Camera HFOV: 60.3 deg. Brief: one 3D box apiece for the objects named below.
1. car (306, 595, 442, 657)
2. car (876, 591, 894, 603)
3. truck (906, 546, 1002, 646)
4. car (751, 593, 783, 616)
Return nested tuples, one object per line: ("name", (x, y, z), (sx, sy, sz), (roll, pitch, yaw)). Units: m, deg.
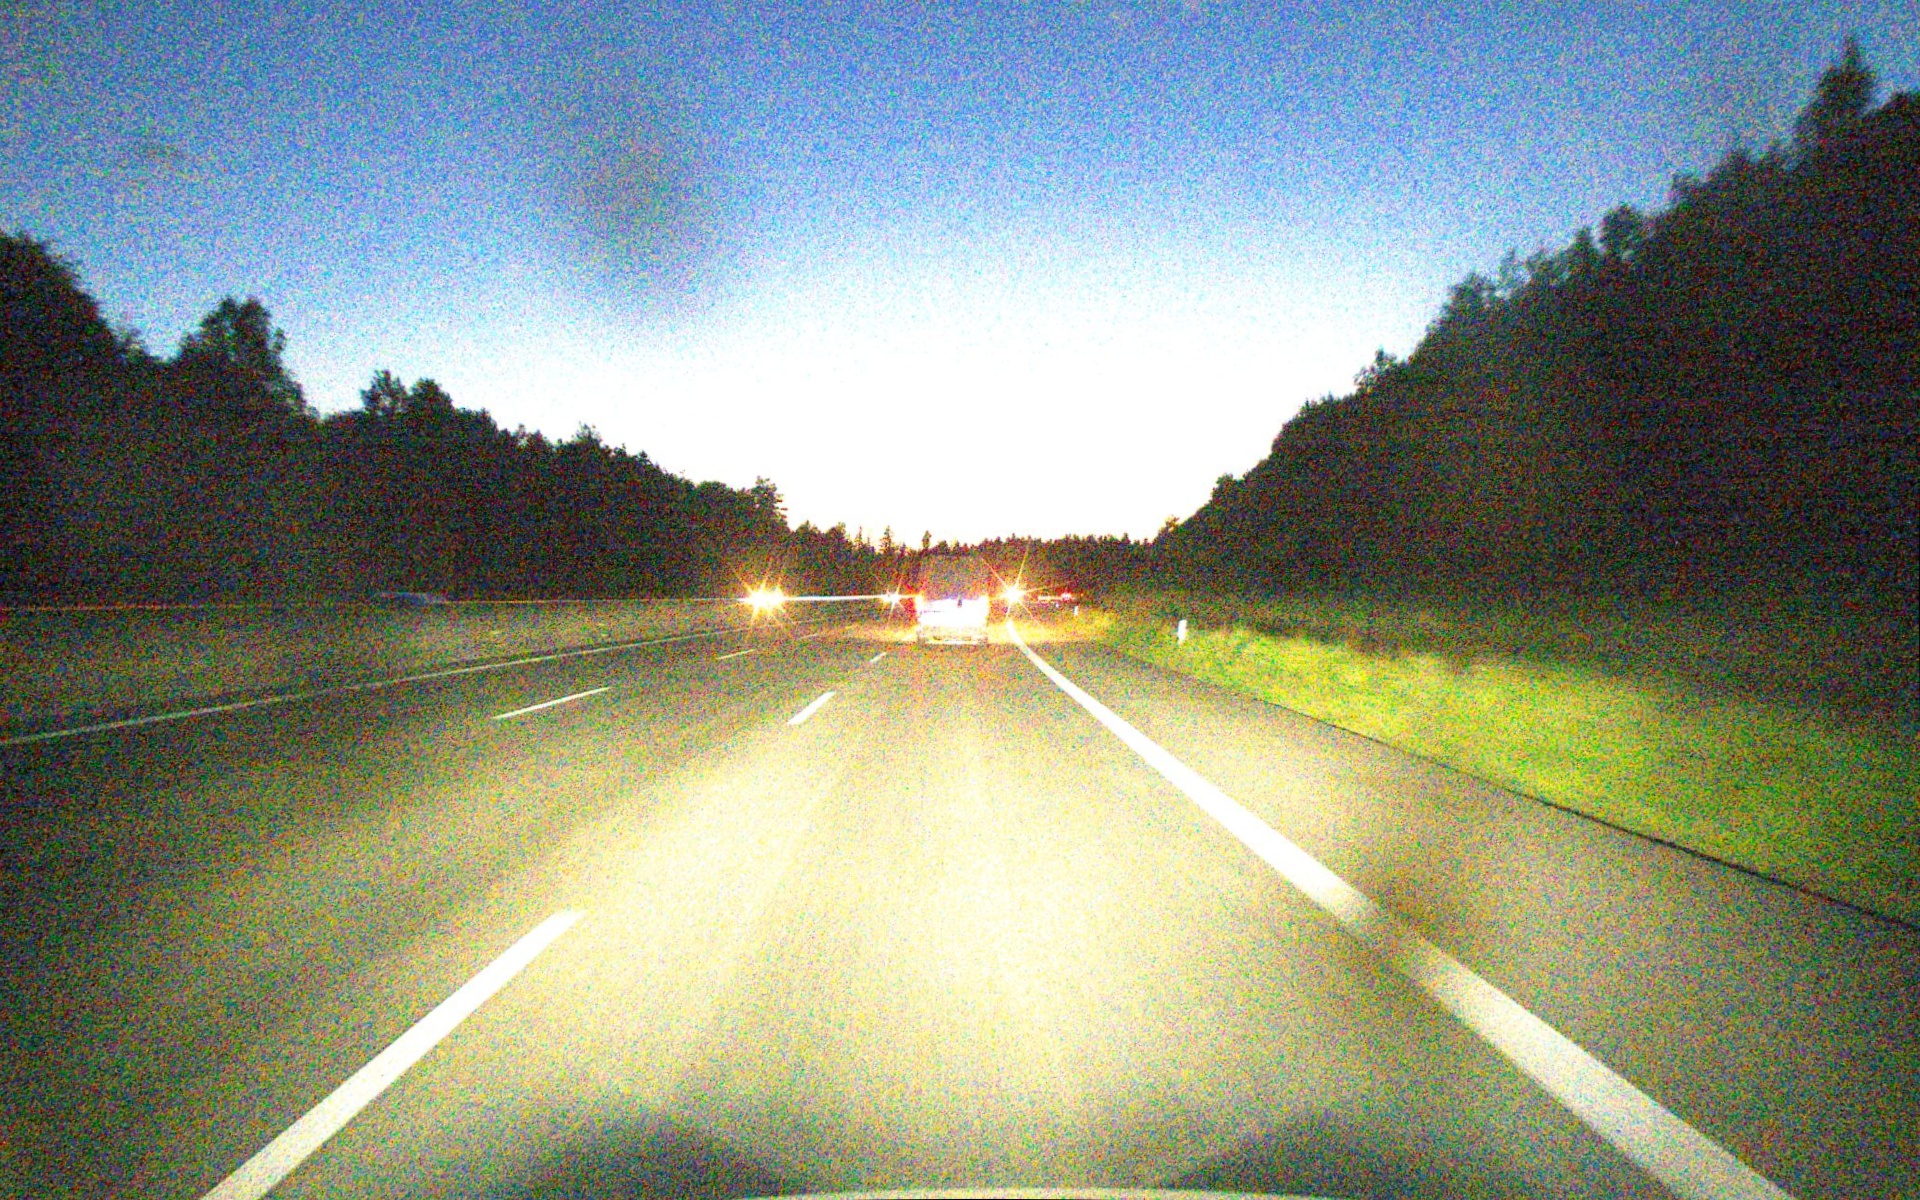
("car", (-14.847, 0.637, 42.165), (1.953, 1.494, 4.398), (0, 0, -1))
("car", (-10.383, -0.374, 229.833), (1.951, 1.679, 4.401), (0, 0, 4))
("truck", (-0.229, -0.084, 48.895), (2.577, 2.670, 8.682), (0, 0, -1))
("car", (-16.037, 0.376, 137.680), (1.952, 1.818, 4.400), (0, 0, 2))
